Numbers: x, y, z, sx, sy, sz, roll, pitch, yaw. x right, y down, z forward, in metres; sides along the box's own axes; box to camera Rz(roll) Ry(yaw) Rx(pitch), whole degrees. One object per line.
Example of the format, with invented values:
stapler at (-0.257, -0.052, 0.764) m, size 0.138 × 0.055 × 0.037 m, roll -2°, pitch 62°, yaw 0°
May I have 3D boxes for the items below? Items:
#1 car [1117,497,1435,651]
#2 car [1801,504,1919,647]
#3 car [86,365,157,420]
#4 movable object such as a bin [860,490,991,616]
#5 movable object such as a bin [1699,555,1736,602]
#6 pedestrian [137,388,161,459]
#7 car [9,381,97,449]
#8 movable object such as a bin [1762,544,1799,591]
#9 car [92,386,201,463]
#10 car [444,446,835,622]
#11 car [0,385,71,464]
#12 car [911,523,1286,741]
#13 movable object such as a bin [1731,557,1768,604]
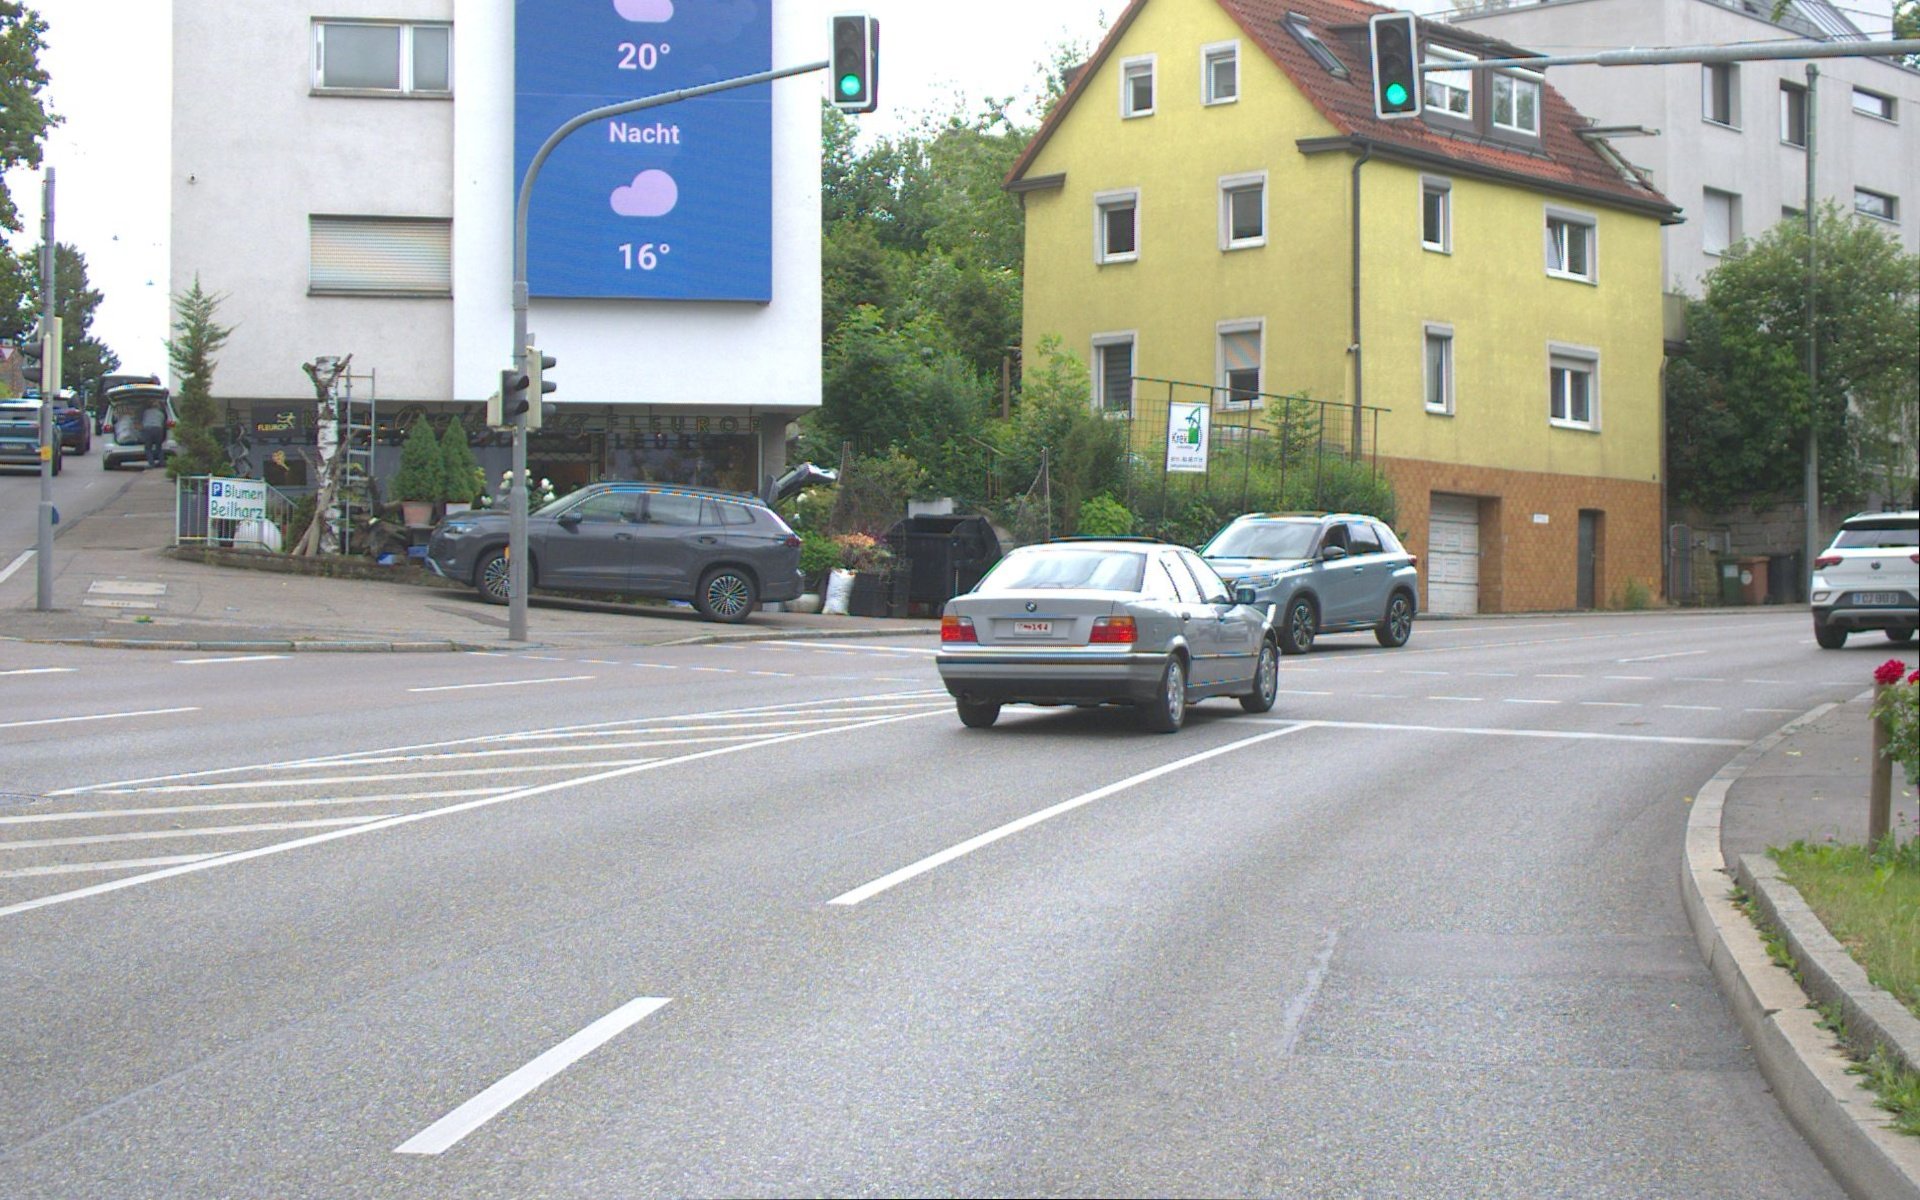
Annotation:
car at (3.763, -0.323, 40.283) m, size 1.899 × 1.689 × 4.339 m, roll 1°, pitch 1°, yaw 33°
car at (11.321, -0.304, 39.882) m, size 1.783 × 1.573 × 3.992 m, roll 2°, pitch 2°, yaw 33°
car at (-25.131, -6.236, 103.142) m, size 1.779 × 1.573 × 4.002 m, roll 1°, pitch 3°, yaw -10°
movable object such as a bin at (-0.478, -0.686, 49.682) m, size 1.762 × 1.773 × 1.855 m, roll 1°, pitch 1°, yaw 3°
movable object such as a bin at (14.633, -0.415, 66.368) m, size 0.568 × 0.882 × 0.609 m, roll 2°, pitch 2°, yaw 24°
pedestrian at (-17.836, -3.879, 75.594) m, size 0.458 × 1.524 × 0.527 m, roll 1°, pitch 0°, yaw -9°
car at (-22.480, -4.614, 85.313) m, size 1.779 × 1.573 × 4.002 m, roll 1°, pitch 3°, yaw -10°
movable object such as a bin at (15.635, -0.625, 65.506) m, size 0.568 × 0.882 × 0.609 m, roll 2°, pitch 2°, yaw 24°
car at (-18.357, -3.932, 77.715) m, size 2.089 × 1.607 × 4.001 m, roll 1°, pitch 1°, yaw -9°
car at (-4.142, -0.863, 43.959) m, size 4.687 × 1.706 × 2.320 m, roll 5°, pitch 4°, yaw -10°
car at (-19.983, -3.750, 73.042) m, size 1.779 × 1.573 × 4.002 m, roll 1°, pitch 3°, yaw -10°
car at (1.133, 0.184, 26.016) m, size 1.708 × 1.459 × 3.996 m, roll 2°, pitch 2°, yaw 19°
movable object such as a bin at (15.039, -0.374, 65.463) m, size 0.568 × 0.882 × 0.609 m, roll 2°, pitch 2°, yaw 24°
